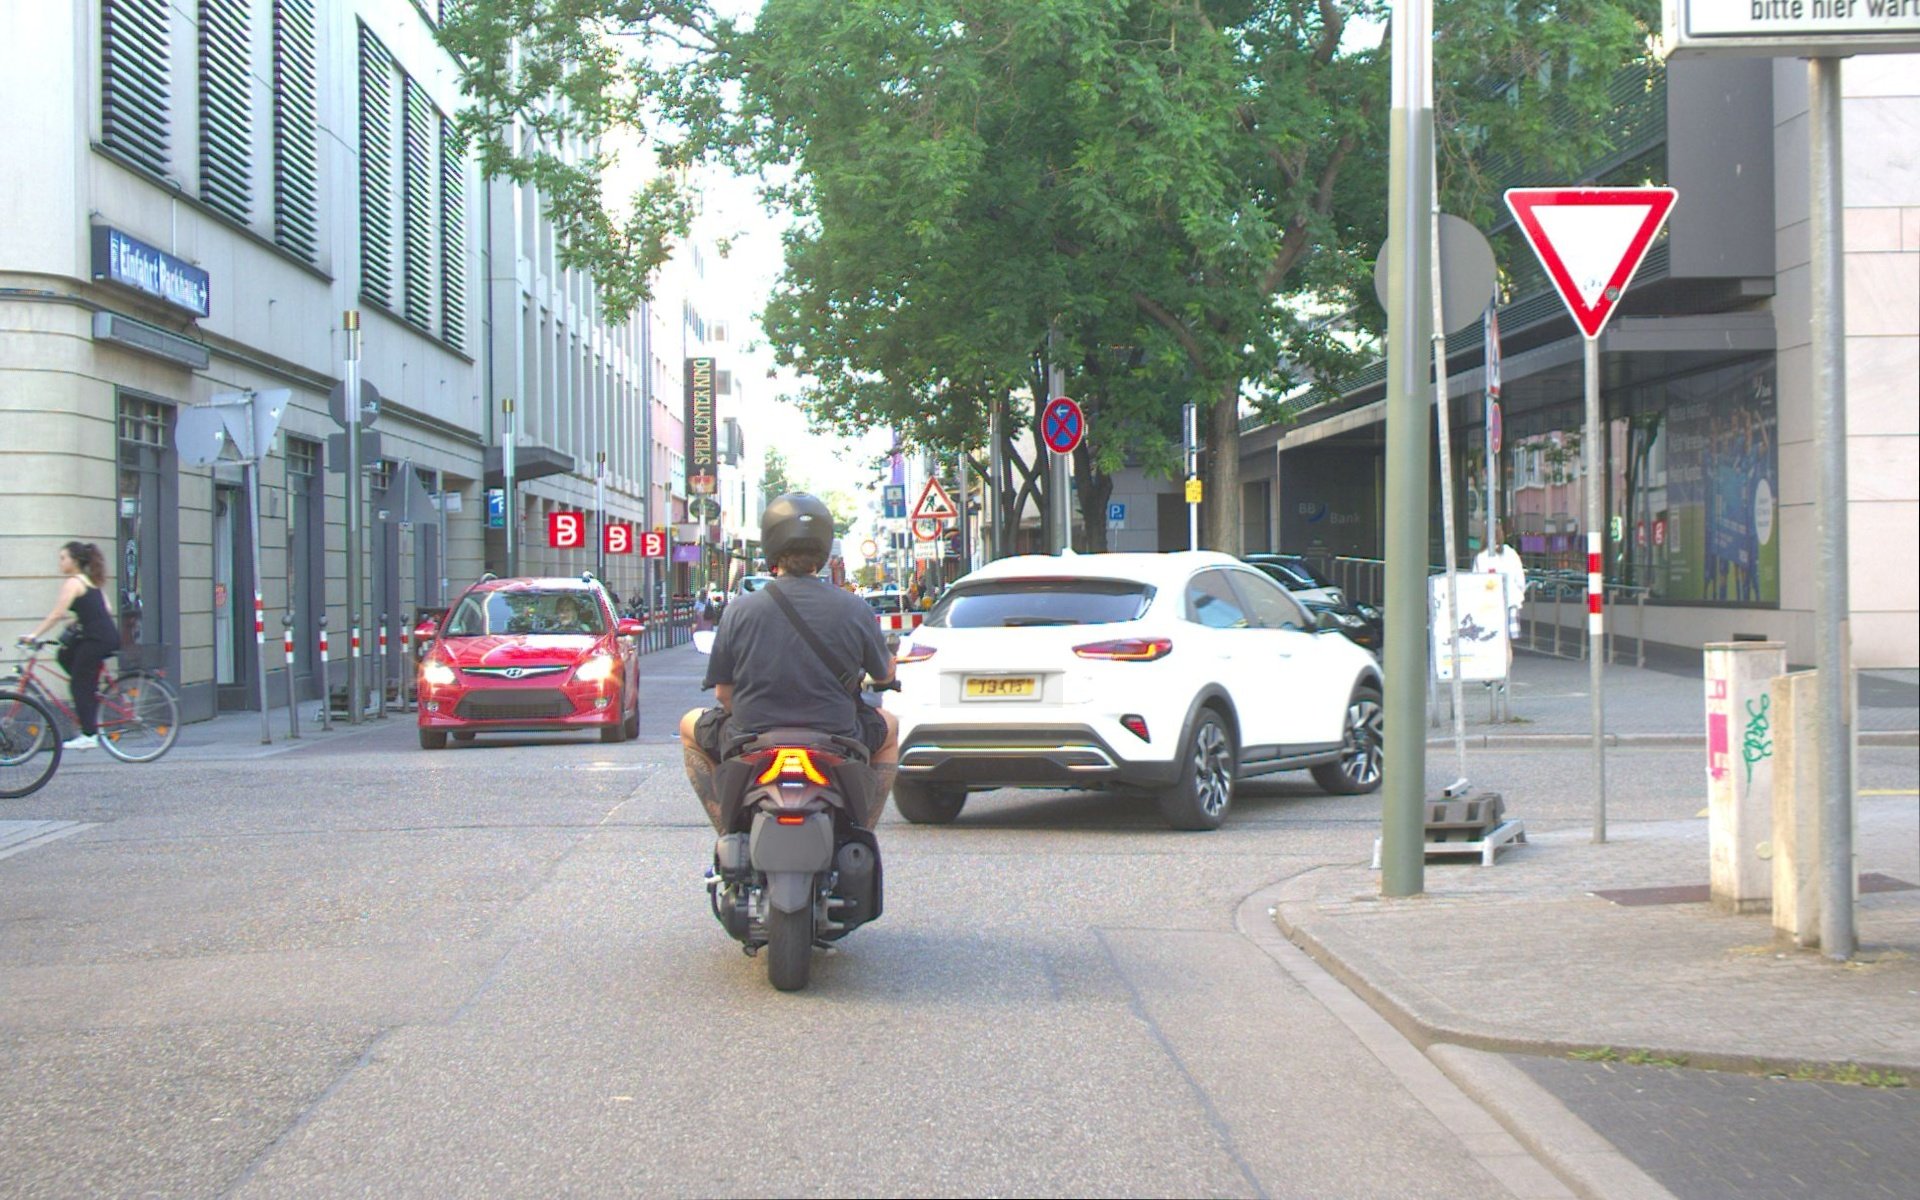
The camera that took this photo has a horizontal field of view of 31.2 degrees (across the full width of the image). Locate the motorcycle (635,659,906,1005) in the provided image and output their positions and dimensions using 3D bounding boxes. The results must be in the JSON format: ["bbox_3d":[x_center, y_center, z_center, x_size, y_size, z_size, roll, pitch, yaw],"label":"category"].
[{"bbox_3d":[-0.636,0.778,12.197,0.872,1.105,1.840,0,0,0],"label":"motorcycle"}]

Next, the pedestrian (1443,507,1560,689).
[{"bbox_3d":[5.283,-0.019,33.575,0.905,1.700,0.834,-3,0,0],"label":"pedestrian"}]

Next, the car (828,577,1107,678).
[{"bbox_3d":[0.110,0.510,64.169,5.004,1.494,2.000,-4,0,-3],"label":"car"}]

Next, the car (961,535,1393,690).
[{"bbox_3d":[2.621,0.149,42.311,5.004,1.494,2.000,-4,0,-3],"label":"car"}]

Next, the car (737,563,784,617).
[{"bbox_3d":[-8.869,-0.459,152.316,1.993,2.321,5.021,1,0,-4],"label":"car"}]

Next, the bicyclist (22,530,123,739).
[{"bbox_3d":[-6.943,0.268,26.909,0.630,1.620,0.498,0,0,3],"label":"bicyclist"}]

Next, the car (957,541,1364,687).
[{"bbox_3d":[2.565,0.183,44.811,5.004,1.494,2.000,-4,0,-3],"label":"car"}]

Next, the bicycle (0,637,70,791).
[{"bbox_3d":[-6.611,0.719,21.825,1.814,0.970,0.511,0,0,-10],"label":"bicycle"}]

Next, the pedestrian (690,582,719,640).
[{"bbox_3d":[-6.858,0.293,92.292,0.732,1.569,0.636,0,0,-1],"label":"pedestrian"}]

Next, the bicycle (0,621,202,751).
[{"bbox_3d":[-7.046,0.666,26.926,2.102,0.992,0.518,0,0,4],"label":"bicycle"}]

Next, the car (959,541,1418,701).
[{"bbox_3d":[2.590,0.236,39.883,5.004,1.447,2.000,-4,0,-3],"label":"car"}]

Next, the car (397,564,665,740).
[{"bbox_3d":[-3.779,0.481,30.939,1.822,1.460,4.263,-1,-1,1],"label":"car"}]

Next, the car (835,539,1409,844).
[{"bbox_3d":[1.064,0.433,19.835,1.825,1.536,4.258,0,1,25],"label":"car"}]

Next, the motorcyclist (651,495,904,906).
[{"bbox_3d":[-0.636,0.350,12.153,0.867,1.422,0.455,0,0,0],"label":"motorcyclist"}]

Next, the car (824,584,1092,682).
[{"bbox_3d":[-0.068,0.631,66.751,5.004,1.494,2.000,-4,0,-3],"label":"car"}]
